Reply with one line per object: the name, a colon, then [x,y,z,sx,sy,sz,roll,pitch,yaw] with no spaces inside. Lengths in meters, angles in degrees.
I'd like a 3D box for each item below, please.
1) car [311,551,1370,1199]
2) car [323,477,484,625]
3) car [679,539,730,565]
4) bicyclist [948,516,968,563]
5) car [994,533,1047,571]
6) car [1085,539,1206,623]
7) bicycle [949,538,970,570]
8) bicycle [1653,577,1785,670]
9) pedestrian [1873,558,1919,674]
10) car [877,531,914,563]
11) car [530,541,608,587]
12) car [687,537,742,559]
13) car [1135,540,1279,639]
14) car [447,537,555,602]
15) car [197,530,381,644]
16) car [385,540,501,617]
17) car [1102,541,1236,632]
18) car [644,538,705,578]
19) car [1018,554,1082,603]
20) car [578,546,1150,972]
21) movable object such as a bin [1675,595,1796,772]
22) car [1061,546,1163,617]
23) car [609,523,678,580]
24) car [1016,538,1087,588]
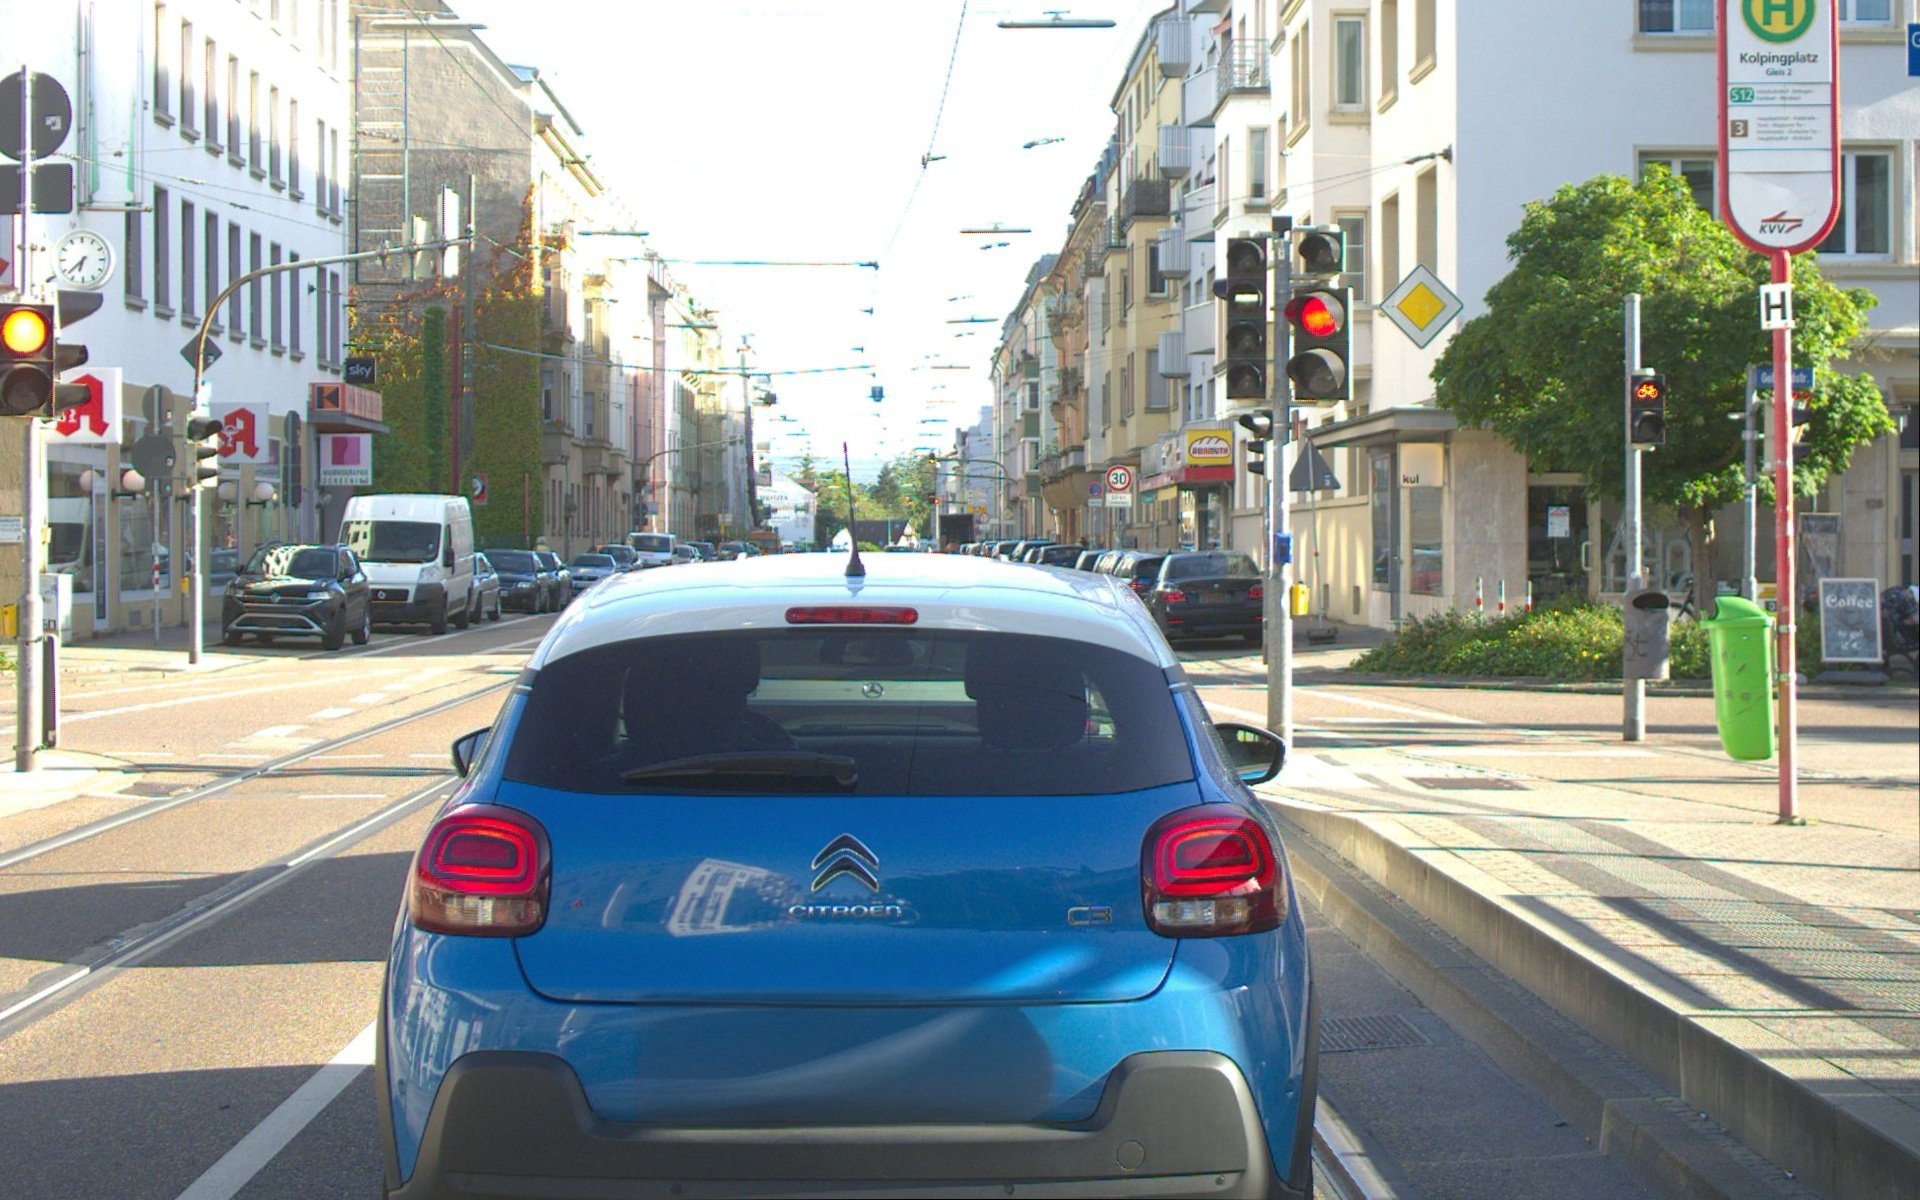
car: [-0.227,0.652,7.581,1.728,1.477,3.827,1,1,-1]
car: [-10.089,-0.898,62.784,2.085,2.533,6.206,1,1,-2]
car: [-11.434,-2.162,154.131,1.993,1.152,4.000,0,1,0]
bicyclist: [-0.078,-2.626,149.811,0.809,2.007,0.922,1,0,-1]
car: [2.320,-1.859,133.219,1.993,1.459,4.000,0,1,0]
car: [3.356,-0.370,62.946,1.993,1.496,4.000,0,1,0]
bicycle: [-0.025,-2.011,149.837,0.920,1.384,3.132,0,1,0]
bicycle: [9.409,0.288,42.633,1.568,1.117,0.300,1,0,11]
pedestrian: [10.813,0.179,39.098,0.741,1.311,0.627,0,1,23]
car: [-3.510,-2.906,188.812,1.993,1.766,4.000,0,1,-1]
car: [-11.725,-1.067,103.203,1.993,1.320,3.923,1,0,-2]
car: [-13.197,-2.783,184.839,1.994,1.152,4.513,0,1,9]
car: [3.731,-0.185,52.502,1.909,1.459,4.000,0,1,0]
car: [-10.406,-0.695,78.120,1.993,1.393,4.157,1,0,-2]
car: [-10.178,-0.207,52.431,1.993,1.563,4.403,3,0,-2]
car: [-10.424,-0.445,69.511,1.888,1.491,3.562,1,0,-2]
car: [3.432,-0.254,57.081,1.993,1.459,4.000,0,1,0]
car: [-11.329,-1.654,136.646,1.955,1.547,3.938,1,0,2]
car: [2.859,-0.701,109.627,1.993,1.546,4.000,0,1,2]
car: [-0.370,0.522,14.478,1.984,1.459,4.816,1,1,-1]
movable object such as a bin: [3.508,0.372,15.576,0.449,0.783,0.489,0,1,2]
car: [3.192,-0.419,72.977,1.993,1.459,4.000,0,1,0]
car: [-11.660,-1.776,126.815,2.006,2.007,4.689,1,0,1]
car: [2.687,-1.115,102.063,1.993,1.459,4.504,0,1,0]
